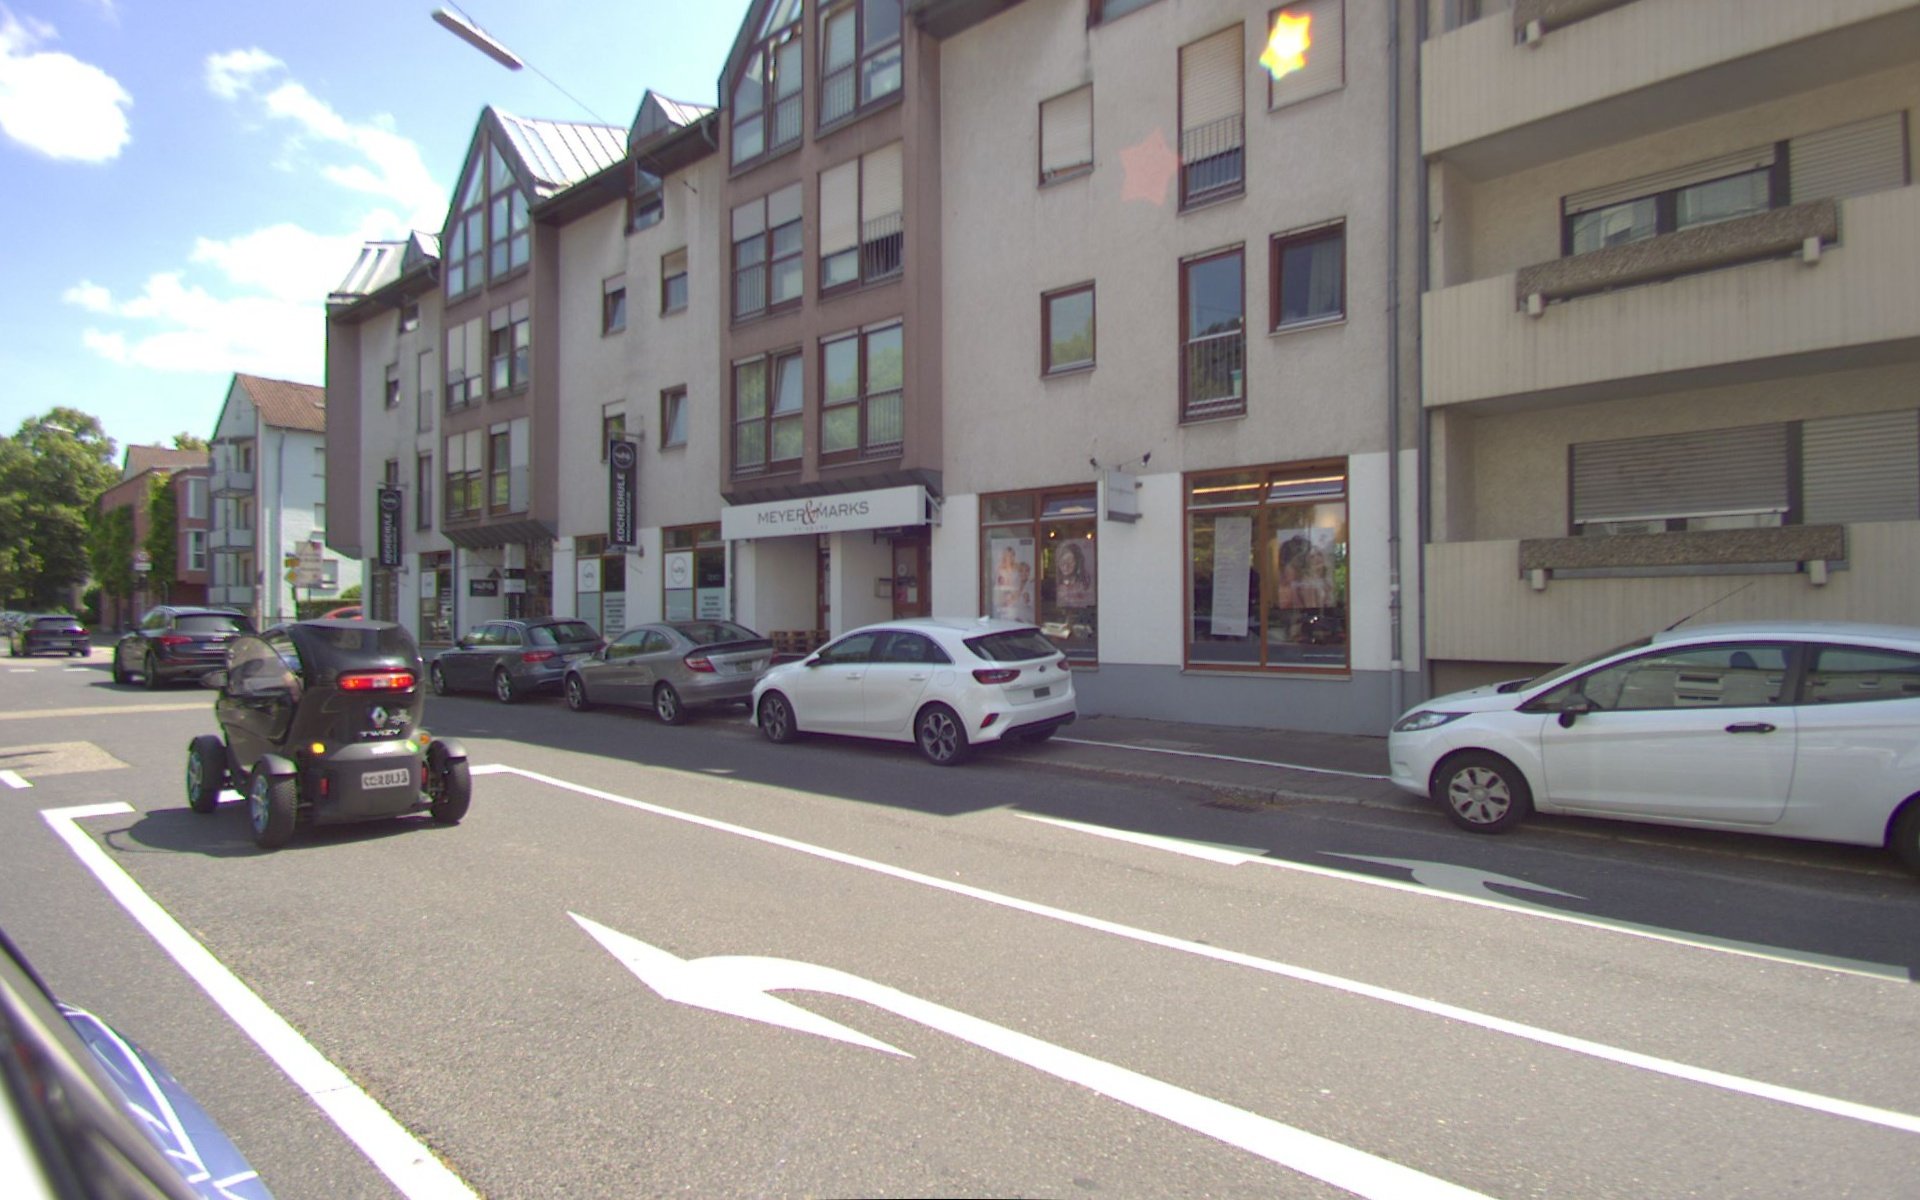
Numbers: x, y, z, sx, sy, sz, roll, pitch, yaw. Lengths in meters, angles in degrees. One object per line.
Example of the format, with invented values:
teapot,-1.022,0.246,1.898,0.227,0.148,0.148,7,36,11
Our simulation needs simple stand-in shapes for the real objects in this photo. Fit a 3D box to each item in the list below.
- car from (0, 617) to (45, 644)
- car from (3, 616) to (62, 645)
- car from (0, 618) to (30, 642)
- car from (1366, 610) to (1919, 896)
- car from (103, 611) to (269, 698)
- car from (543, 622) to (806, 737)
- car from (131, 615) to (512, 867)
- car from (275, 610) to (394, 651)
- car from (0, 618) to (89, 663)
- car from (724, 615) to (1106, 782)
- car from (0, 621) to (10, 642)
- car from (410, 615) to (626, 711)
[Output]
car,-57.440,1.826,61.645,4.564,1.551,1.867,-1,-2,40
car,-52.723,1.704,57.497,4.564,1.551,1.867,-1,-2,40
car,-61.902,1.947,65.709,3.997,1.519,1.730,-1,0,40
car,5.255,0.851,6.724,4.385,1.500,1.820,-1,1,42
car,-16.283,1.100,21.207,4.437,1.633,1.794,-1,-3,40
car,-4.448,1.092,15.418,4.326,1.394,1.820,-1,1,42
car,-4.678,0.852,7.353,2.718,1.470,1.483,-1,-1,37
car,-26.789,1.295,43.455,1.731,1.462,3.948,-3,1,40
car,-30.921,1.341,34.148,4.221,1.430,1.724,-1,-2,41
car,-0.662,0.971,11.757,4.384,1.500,1.821,-1,1,41
car,-67.385,2.189,70.201,3.997,1.453,1.730,-1,0,40
car,-8.268,1.054,18.675,4.969,1.458,1.820,-1,1,43
